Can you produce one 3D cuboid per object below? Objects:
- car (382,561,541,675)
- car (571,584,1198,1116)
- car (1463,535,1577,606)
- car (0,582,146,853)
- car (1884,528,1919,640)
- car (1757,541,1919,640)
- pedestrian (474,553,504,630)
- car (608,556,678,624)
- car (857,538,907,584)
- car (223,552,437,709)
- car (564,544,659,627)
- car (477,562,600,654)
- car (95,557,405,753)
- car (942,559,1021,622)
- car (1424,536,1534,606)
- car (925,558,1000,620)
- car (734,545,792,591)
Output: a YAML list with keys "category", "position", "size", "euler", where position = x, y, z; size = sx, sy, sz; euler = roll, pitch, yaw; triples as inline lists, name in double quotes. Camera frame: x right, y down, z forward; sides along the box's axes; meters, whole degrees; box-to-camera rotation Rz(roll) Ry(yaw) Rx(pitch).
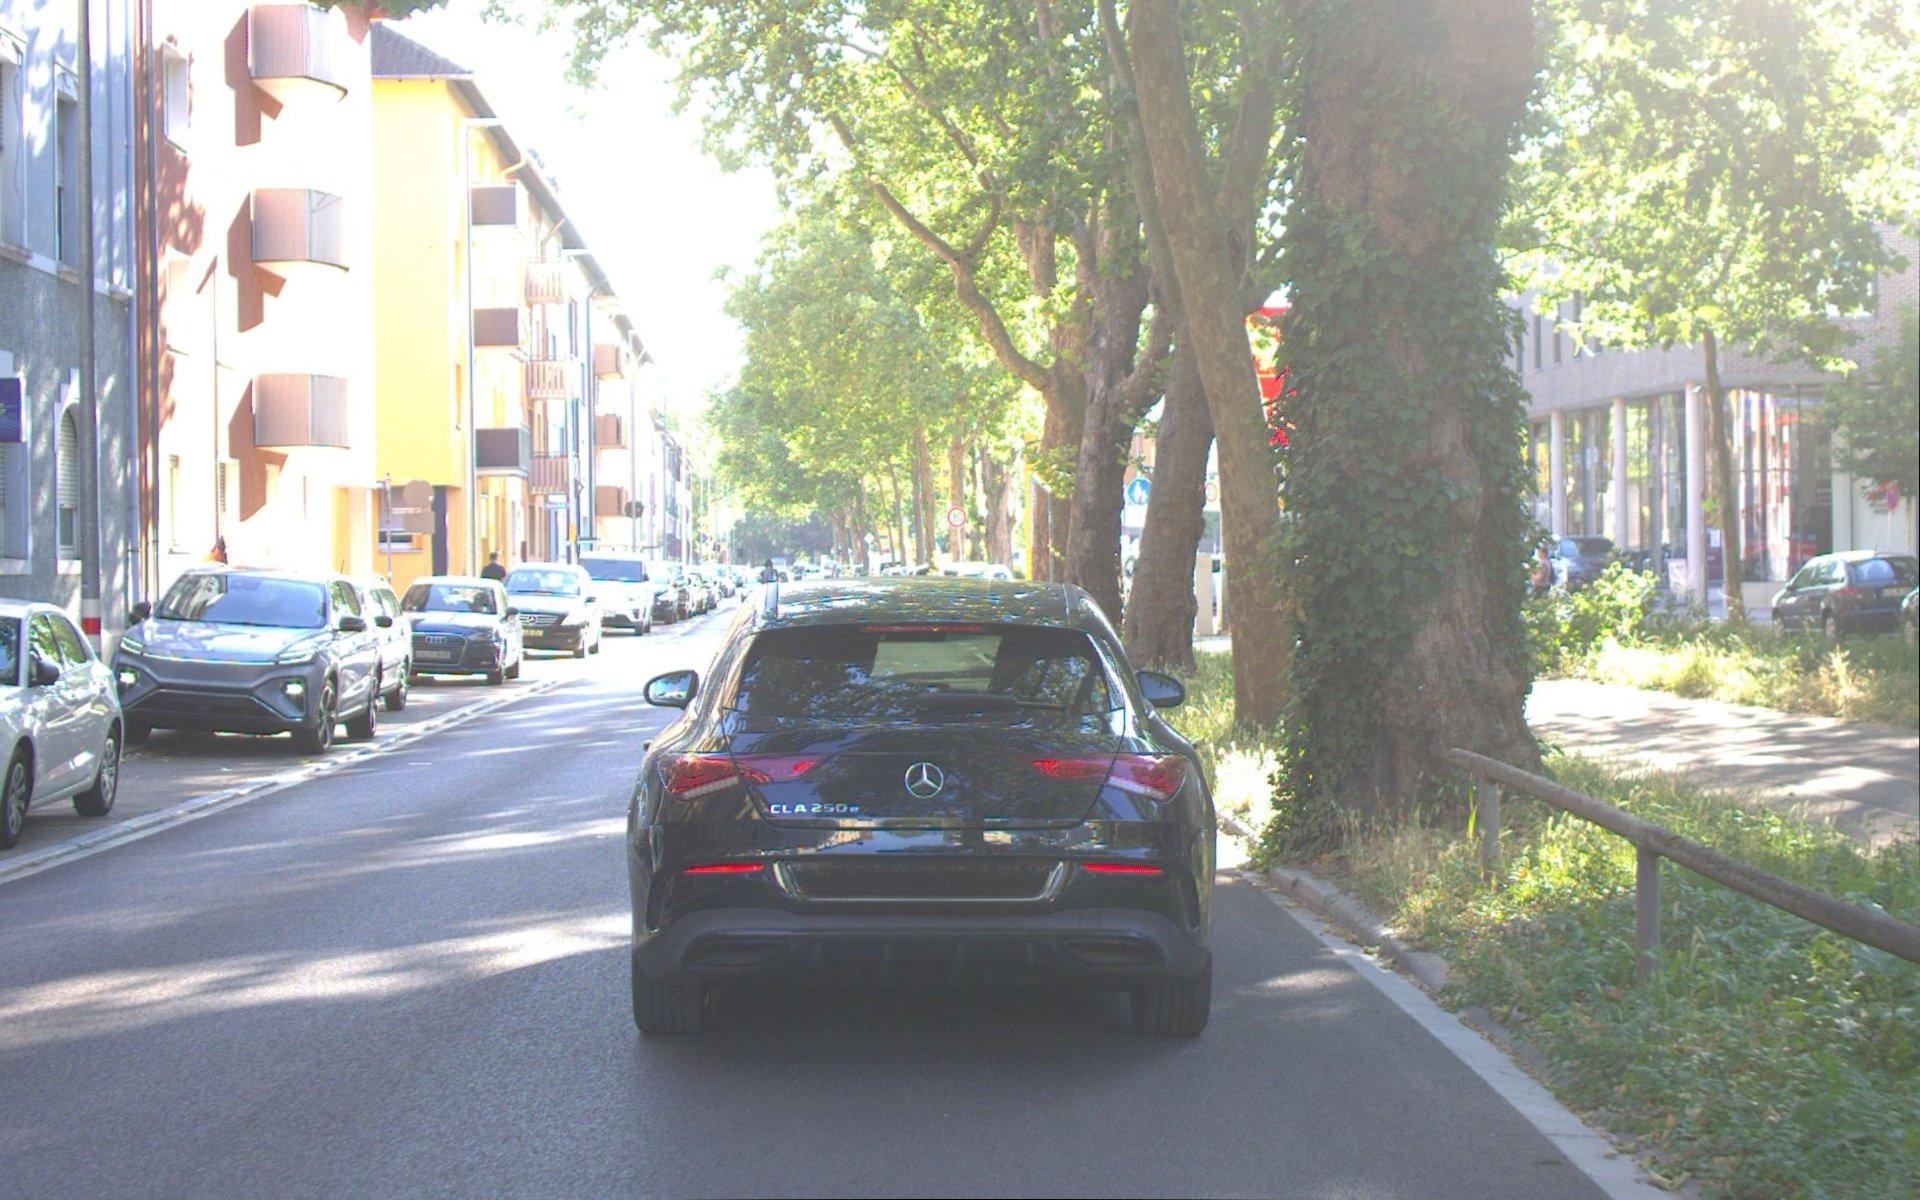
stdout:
- category: "car"
  position: [-6.836, 0.222, 47.399]
  size: [1.678, 1.481, 3.601]
  euler: [1, 1, 0]
- category: "car"
  position: [-0.229, 0.698, 11.682]
  size: [1.744, 1.438, 3.969]
  euler: [1, 1, 0]
- category: "car"
  position: [14.311, -0.766, 88.061]
  size: [1.985, 1.727, 4.181]
  euler: [-1, 1, -3]
- category: "car"
  position: [-6.268, 0.653, 21.012]
  size: [1.678, 1.491, 3.872]
  euler: [1, 1, 0]
- category: "car"
  position: [14.191, -0.231, 47.275]
  size: [1.859, 1.547, 3.760]
  euler: [-1, 1, -1]
- category: "car"
  position: [14.020, -0.177, 53.917]
  size: [1.859, 1.463, 4.124]
  euler: [-1, 1, -3]
- category: "pedestrian"
  position: [-11.051, -0.202, 80.631]
  size: [0.587, 1.784, 0.642]
  euler: [-1, 1, -1]
- category: "car"
  position: [-8.605, -0.289, 93.591]
  size: [1.745, 1.781, 4.550]
  euler: [1, 1, -3]
- category: "car"
  position: [-3.615, -1.763, 157.843]
  size: [1.993, 2.007, 4.000]
  euler: [0, -1, -6]
- category: "car"
  position: [-7.001, 0.301, 38.537]
  size: [1.678, 1.636, 3.985]
  euler: [1, 1, 0]
- category: "car"
  position: [-8.154, -0.364, 80.837]
  size: [1.734, 1.900, 5.209]
  euler: [0, 1, 0]
- category: "car"
  position: [-7.387, 0.112, 60.475]
  size: [1.678, 1.518, 4.021]
  euler: [1, 1, 0]
- category: "car"
  position: [-6.403, 0.439, 31.491]
  size: [1.908, 1.636, 4.577]
  euler: [1, 1, 0]
- category: "car"
  position: [0.499, -0.226, 85.118]
  size: [1.634, 1.463, 4.022]
  euler: [-2, 0, -3]
- category: "car"
  position: [13.270, -0.744, 88.149]
  size: [1.875, 1.727, 4.181]
  euler: [-1, 1, -4]
- category: "car"
  position: [0.038, -0.289, 91.941]
  size: [1.810, 1.533, 4.583]
  euler: [-3, 0, -1]
- category: "car"
  position: [-6.671, -1.097, 116.738]
  size: [1.771, 1.473, 4.322]
  euler: [-2, 1, -1]
